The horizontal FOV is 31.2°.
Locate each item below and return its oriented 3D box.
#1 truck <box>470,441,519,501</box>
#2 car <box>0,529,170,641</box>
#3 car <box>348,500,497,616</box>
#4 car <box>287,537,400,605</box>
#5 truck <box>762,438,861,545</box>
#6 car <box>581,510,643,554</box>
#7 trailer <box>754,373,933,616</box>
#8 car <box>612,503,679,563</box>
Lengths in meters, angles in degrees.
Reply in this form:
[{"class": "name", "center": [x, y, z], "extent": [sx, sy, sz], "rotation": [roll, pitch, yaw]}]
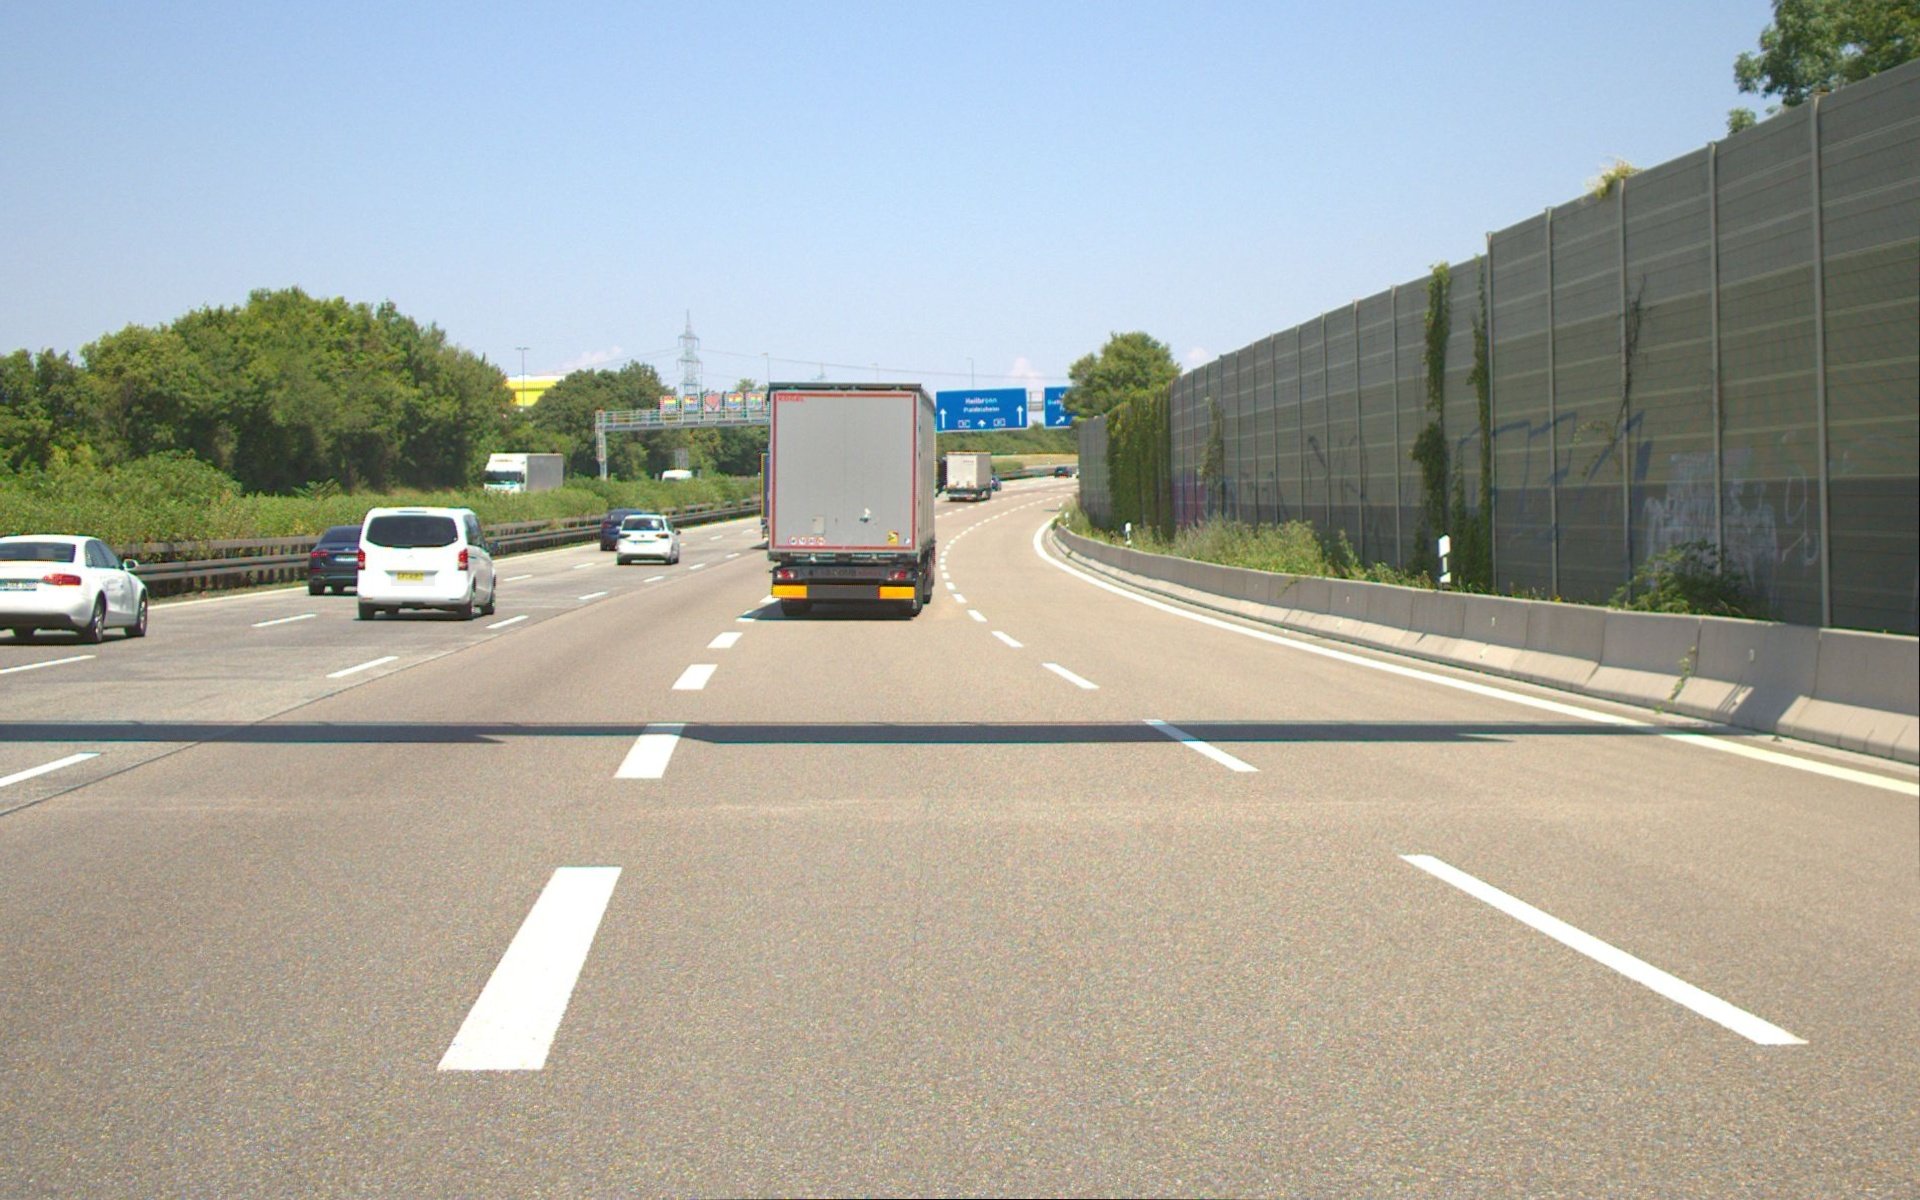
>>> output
[{"class": "truck", "center": [-30.908, -8.541, 228.497], "extent": [2.538, 3.933, 5.167], "rotation": [0, 2, 0]}, {"class": "car", "center": [-12.132, -0.242, 46.408], "extent": [1.876, 1.435, 5.126], "rotation": [0, 1, -1]}, {"class": "car", "center": [-8.980, -0.689, 57.791], "extent": [1.930, 1.845, 4.693], "rotation": [-1, 0, -2]}, {"class": "car", "center": [-13.298, -0.626, 74.388], "extent": [1.756, 1.404, 5.040], "rotation": [-1, 0, -3]}, {"class": "truck", "center": [-6.158, -4.655, 144.810], "extent": [3.747, 4.255, 14.498], "rotation": [1, 3, -1]}, {"class": "car", "center": [-13.725, -2.683, 135.649], "extent": [1.904, 1.683, 4.631], "rotation": [-1, 1, 1]}, {"class": "trailer", "center": [-2.167, -1.838, 63.044], "extent": [2.927, 4.001, 12.040], "rotation": [-1, 1, -2]}, {"class": "car", "center": [-10.259, -2.217, 112.366], "extent": [1.904, 1.845, 4.632], "rotation": [-1, 2, -2]}]
